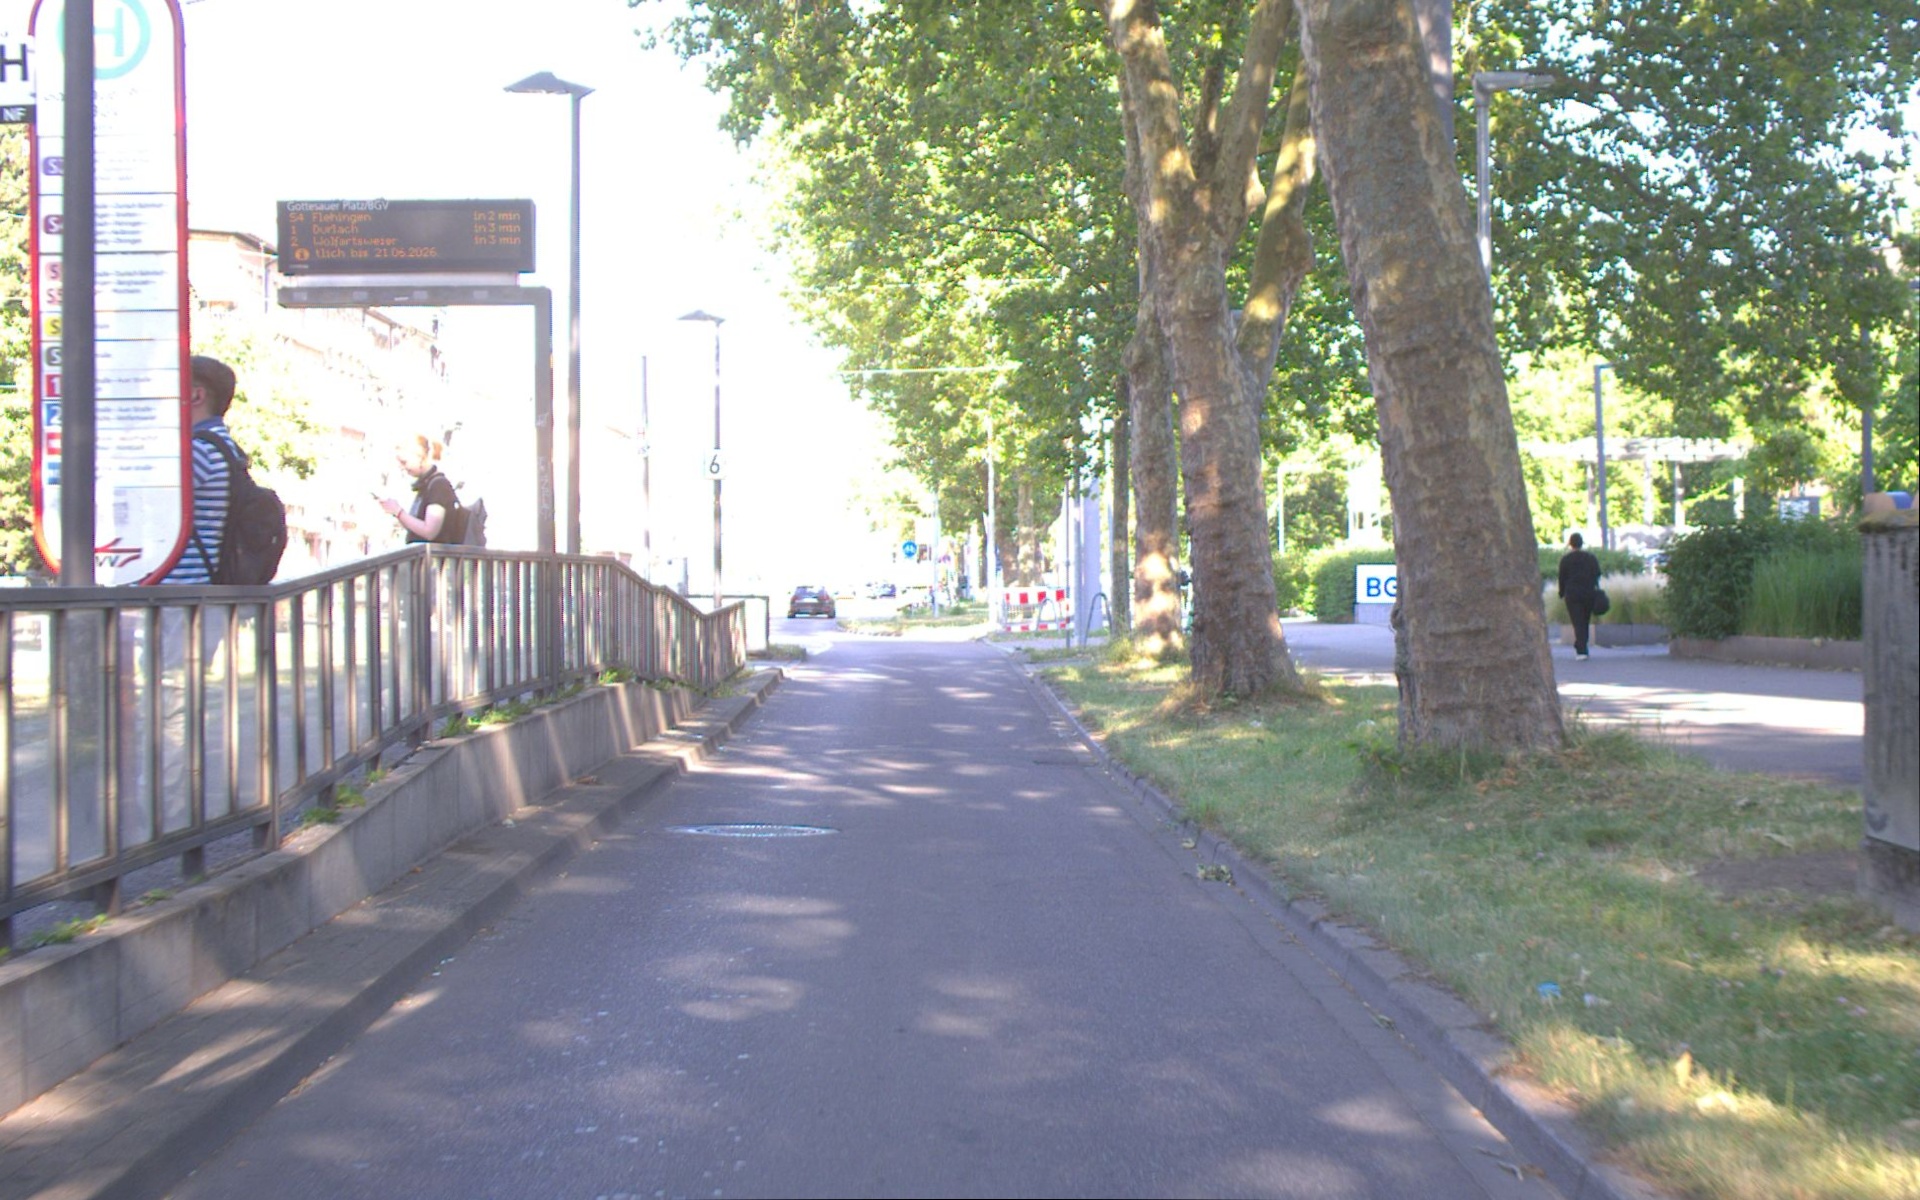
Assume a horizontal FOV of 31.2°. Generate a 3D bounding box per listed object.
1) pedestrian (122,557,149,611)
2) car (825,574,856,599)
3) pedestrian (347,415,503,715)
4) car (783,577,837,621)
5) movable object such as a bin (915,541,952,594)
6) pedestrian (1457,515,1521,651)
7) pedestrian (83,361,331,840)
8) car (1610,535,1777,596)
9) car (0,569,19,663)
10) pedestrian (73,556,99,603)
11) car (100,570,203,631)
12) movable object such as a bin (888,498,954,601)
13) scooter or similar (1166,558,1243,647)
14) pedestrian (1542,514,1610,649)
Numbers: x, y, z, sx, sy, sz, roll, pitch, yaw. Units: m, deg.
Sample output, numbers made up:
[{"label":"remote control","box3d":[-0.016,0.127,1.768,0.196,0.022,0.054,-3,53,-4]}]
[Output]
[{"label":"pedestrian","box3d":[-27.497,-0.534,114.677,0.650,1.769,0.888,-2,0,-2]},{"label":"car","box3d":[-9.074,-1.053,261.178,1.993,1.853,4.001,2,0,-7]},{"label":"pedestrian","box3d":[-3.081,-0.203,19.861,0.757,1.684,0.678,2,0,0]},{"label":"car","box3d":[-6.044,-0.053,139.046,1.993,1.678,4.000,2,0,-1]},{"label":"movable object such as a bin","box3d":[-1.554,-1.905,202.167,1.968,3.003,4.797,-3,0,-1]},{"label":"pedestrian","box3d":[6.552,-0.214,42.613,0.627,1.651,0.740,-2,0,-1]},{"label":"pedestrian","box3d":[-2.753,-0.001,12.640,0.679,1.684,0.894,2,0,0]},{"label":"car","box3d":[22.325,-1.066,104.658,4.670,1.707,1.849,-2,2,-21]},{"label":"car","box3d":[-19.513,0.292,65.652,1.864,1.800,4.027,2,0,1]},{"label":"pedestrian","box3d":[-29.114,-0.686,114.562,0.650,1.534,0.783,-2,0,-2]},{"label":"car","box3d":[-19.697,0.001,83.845,1.606,1.403,3.851,2,0,-1]},{"label":"movable object such as a bin","box3d":[-2.097,-2.593,179.859,3.087,5.071,8.892,-3,0,-1]},{"label":"scooter or similar","box3d":[3.509,0.033,49.459,1.052,1.240,0.841,-1,0,2]},{"label":"pedestrian","box3d":[7.647,-0.228,42.688,0.650,1.651,0.783,-2,0,-1]}]
